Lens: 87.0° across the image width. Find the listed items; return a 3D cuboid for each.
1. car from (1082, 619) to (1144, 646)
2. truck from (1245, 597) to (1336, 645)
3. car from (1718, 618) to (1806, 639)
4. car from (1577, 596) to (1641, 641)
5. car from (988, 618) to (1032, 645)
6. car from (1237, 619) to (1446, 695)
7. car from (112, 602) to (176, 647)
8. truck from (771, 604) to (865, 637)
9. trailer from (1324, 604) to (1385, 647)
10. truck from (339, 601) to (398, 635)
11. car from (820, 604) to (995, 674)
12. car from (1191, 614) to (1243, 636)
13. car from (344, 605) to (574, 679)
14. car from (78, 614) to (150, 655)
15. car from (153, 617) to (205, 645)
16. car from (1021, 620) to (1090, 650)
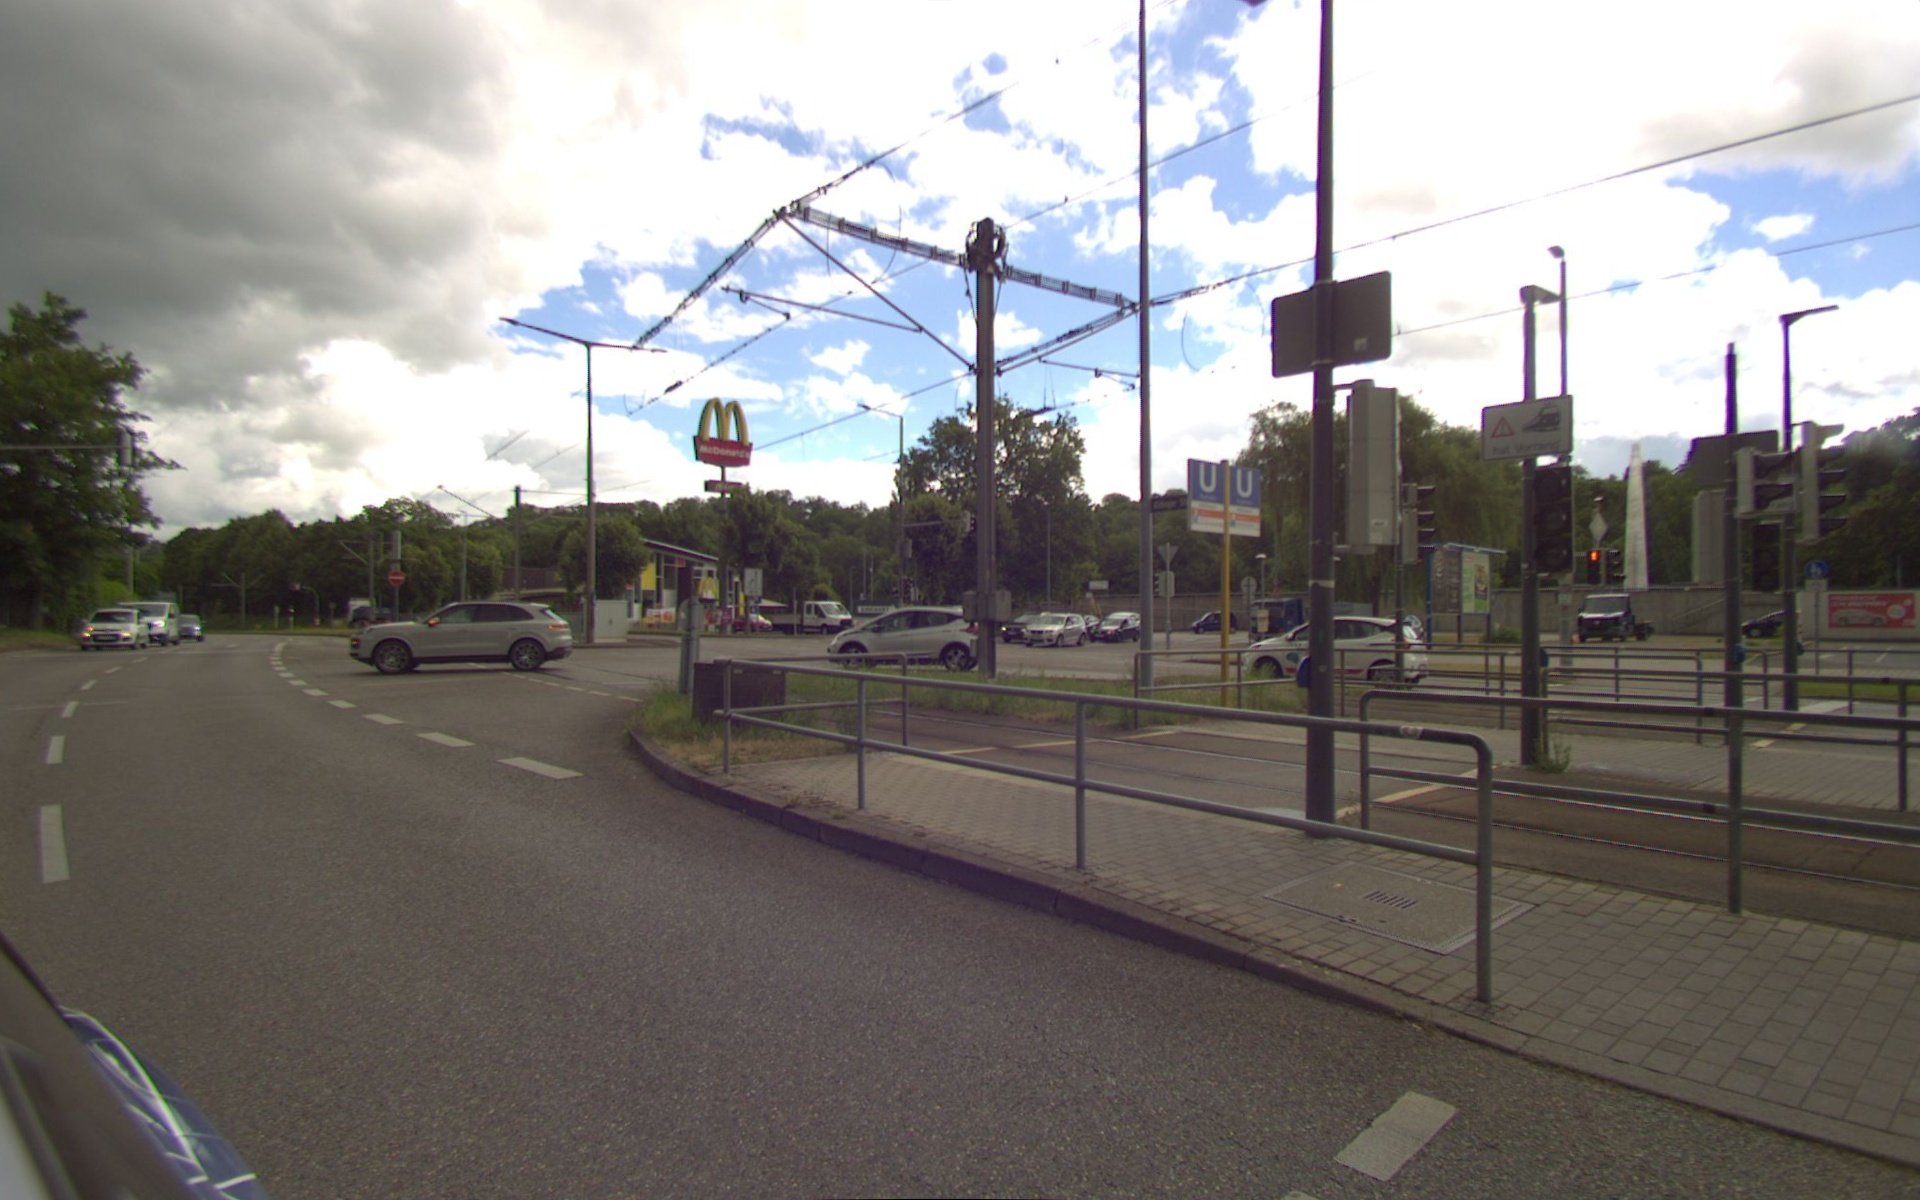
[{"bbox_3d":[8.692,1.824,57.389,1.792,1.443,4.232,-1,-1,35],"label":"car"},{"bbox_3d":[18.154,1.156,55.376,5.739,2.513,2.388,1,-2,-45],"label":"truck"},{"bbox_3d":[46.196,1.655,58.400,3.880,1.130,1.555,0,-2,35],"label":"car"},{"bbox_3d":[31.585,0.931,49.193,1.847,2.067,4.319,-1,-3,43],"label":"car"},{"bbox_3d":[2.750,1.682,55.046,1.779,1.443,3.625,0,-1,14],"label":"car"},{"bbox_3d":[7.995,1.126,21.381,3.826,1.465,1.611,-1,-1,40],"label":"car"},{"bbox_3d":[-35.053,1.055,43.553,1.780,1.839,4.011,1,-1,-34],"label":"car"},{"bbox_3d":[-8.950,1.285,63.325,6.200,1.920,2.563,-1,-3,44],"label":"truck"},{"bbox_3d":[21.474,1.408,54.957,1.561,2.275,4.329,-1,-3,44],"label":"trailer"},{"bbox_3d":[-64.982,1.992,111.095,3.387,3.587,8.704,3,-3,-45],"label":"truck"},{"bbox_3d":[-1.265,0.956,25.284,4.081,1.653,1.744,0,-1,12],"label":"car"},{"bbox_3d":[19.157,1.863,75.663,3.601,1.566,1.722,1,-2,10],"label":"car"},{"bbox_3d":[-11.904,0.980,24.405,4.772,1.655,1.682,0,-1,-18],"label":"car"},{"bbox_3d":[-31.690,1.285,38.007,1.693,1.429,4.010,2,-2,-35],"label":"car"},{"bbox_3d":[-44.273,1.750,57.438,1.966,1.547,4.011,2,-2,-33],"label":"car"},{"bbox_3d":[4.870,1.744,51.225,1.790,1.443,4.371,-1,-1,31],"label":"car"}]
